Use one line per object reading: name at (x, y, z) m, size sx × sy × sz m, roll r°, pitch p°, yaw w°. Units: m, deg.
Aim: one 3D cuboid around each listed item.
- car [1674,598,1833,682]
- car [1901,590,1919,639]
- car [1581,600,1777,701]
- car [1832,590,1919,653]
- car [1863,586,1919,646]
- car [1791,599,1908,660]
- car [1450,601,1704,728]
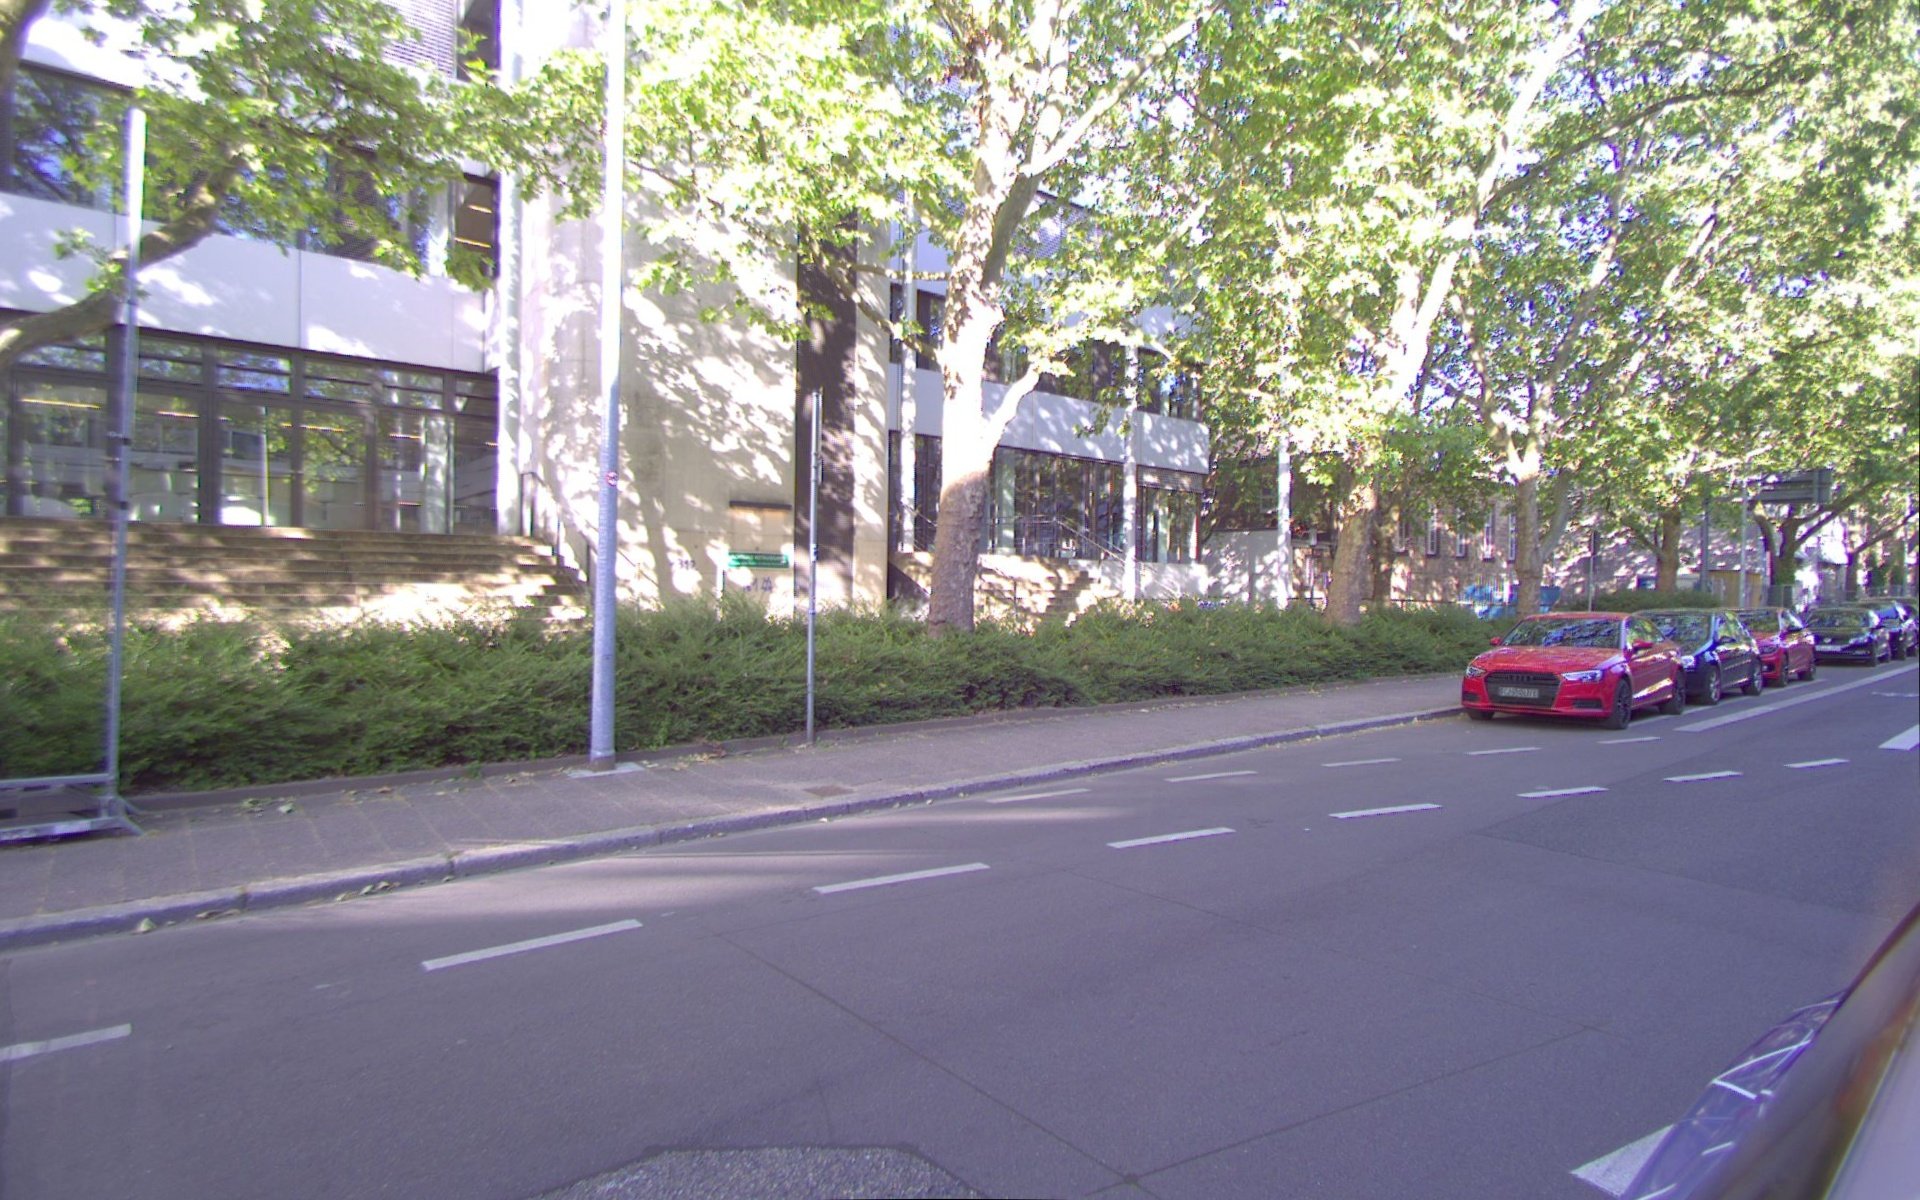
car at (15.699, 0.723, 19.970) m, size 3.841 × 1.486 × 1.753 m, roll 0°, pitch -1°, yaw -41°
car at (36.190, 0.519, 37.270) m, size 4.370 × 1.750 × 1.753 m, roll 0°, pitch -1°, yaw -41°
car at (11.848, 0.741, 16.593) m, size 3.841 × 1.451 × 1.753 m, roll 0°, pitch -1°, yaw -41°
car at (26.710, 0.588, 29.182) m, size 4.101 × 1.674 × 1.753 m, roll 0°, pitch -1°, yaw -41°
car at (30.967, 0.489, 32.973) m, size 4.370 × 1.844 × 1.753 m, roll 0°, pitch -1°, yaw -41°
car at (22.944, 0.718, 26.069) m, size 3.841 × 1.451 × 1.753 m, roll 0°, pitch -1°, yaw -41°
car at (8.272, 0.743, 13.448) m, size 3.930 × 1.427 × 1.753 m, roll 0°, pitch -1°, yaw -41°
